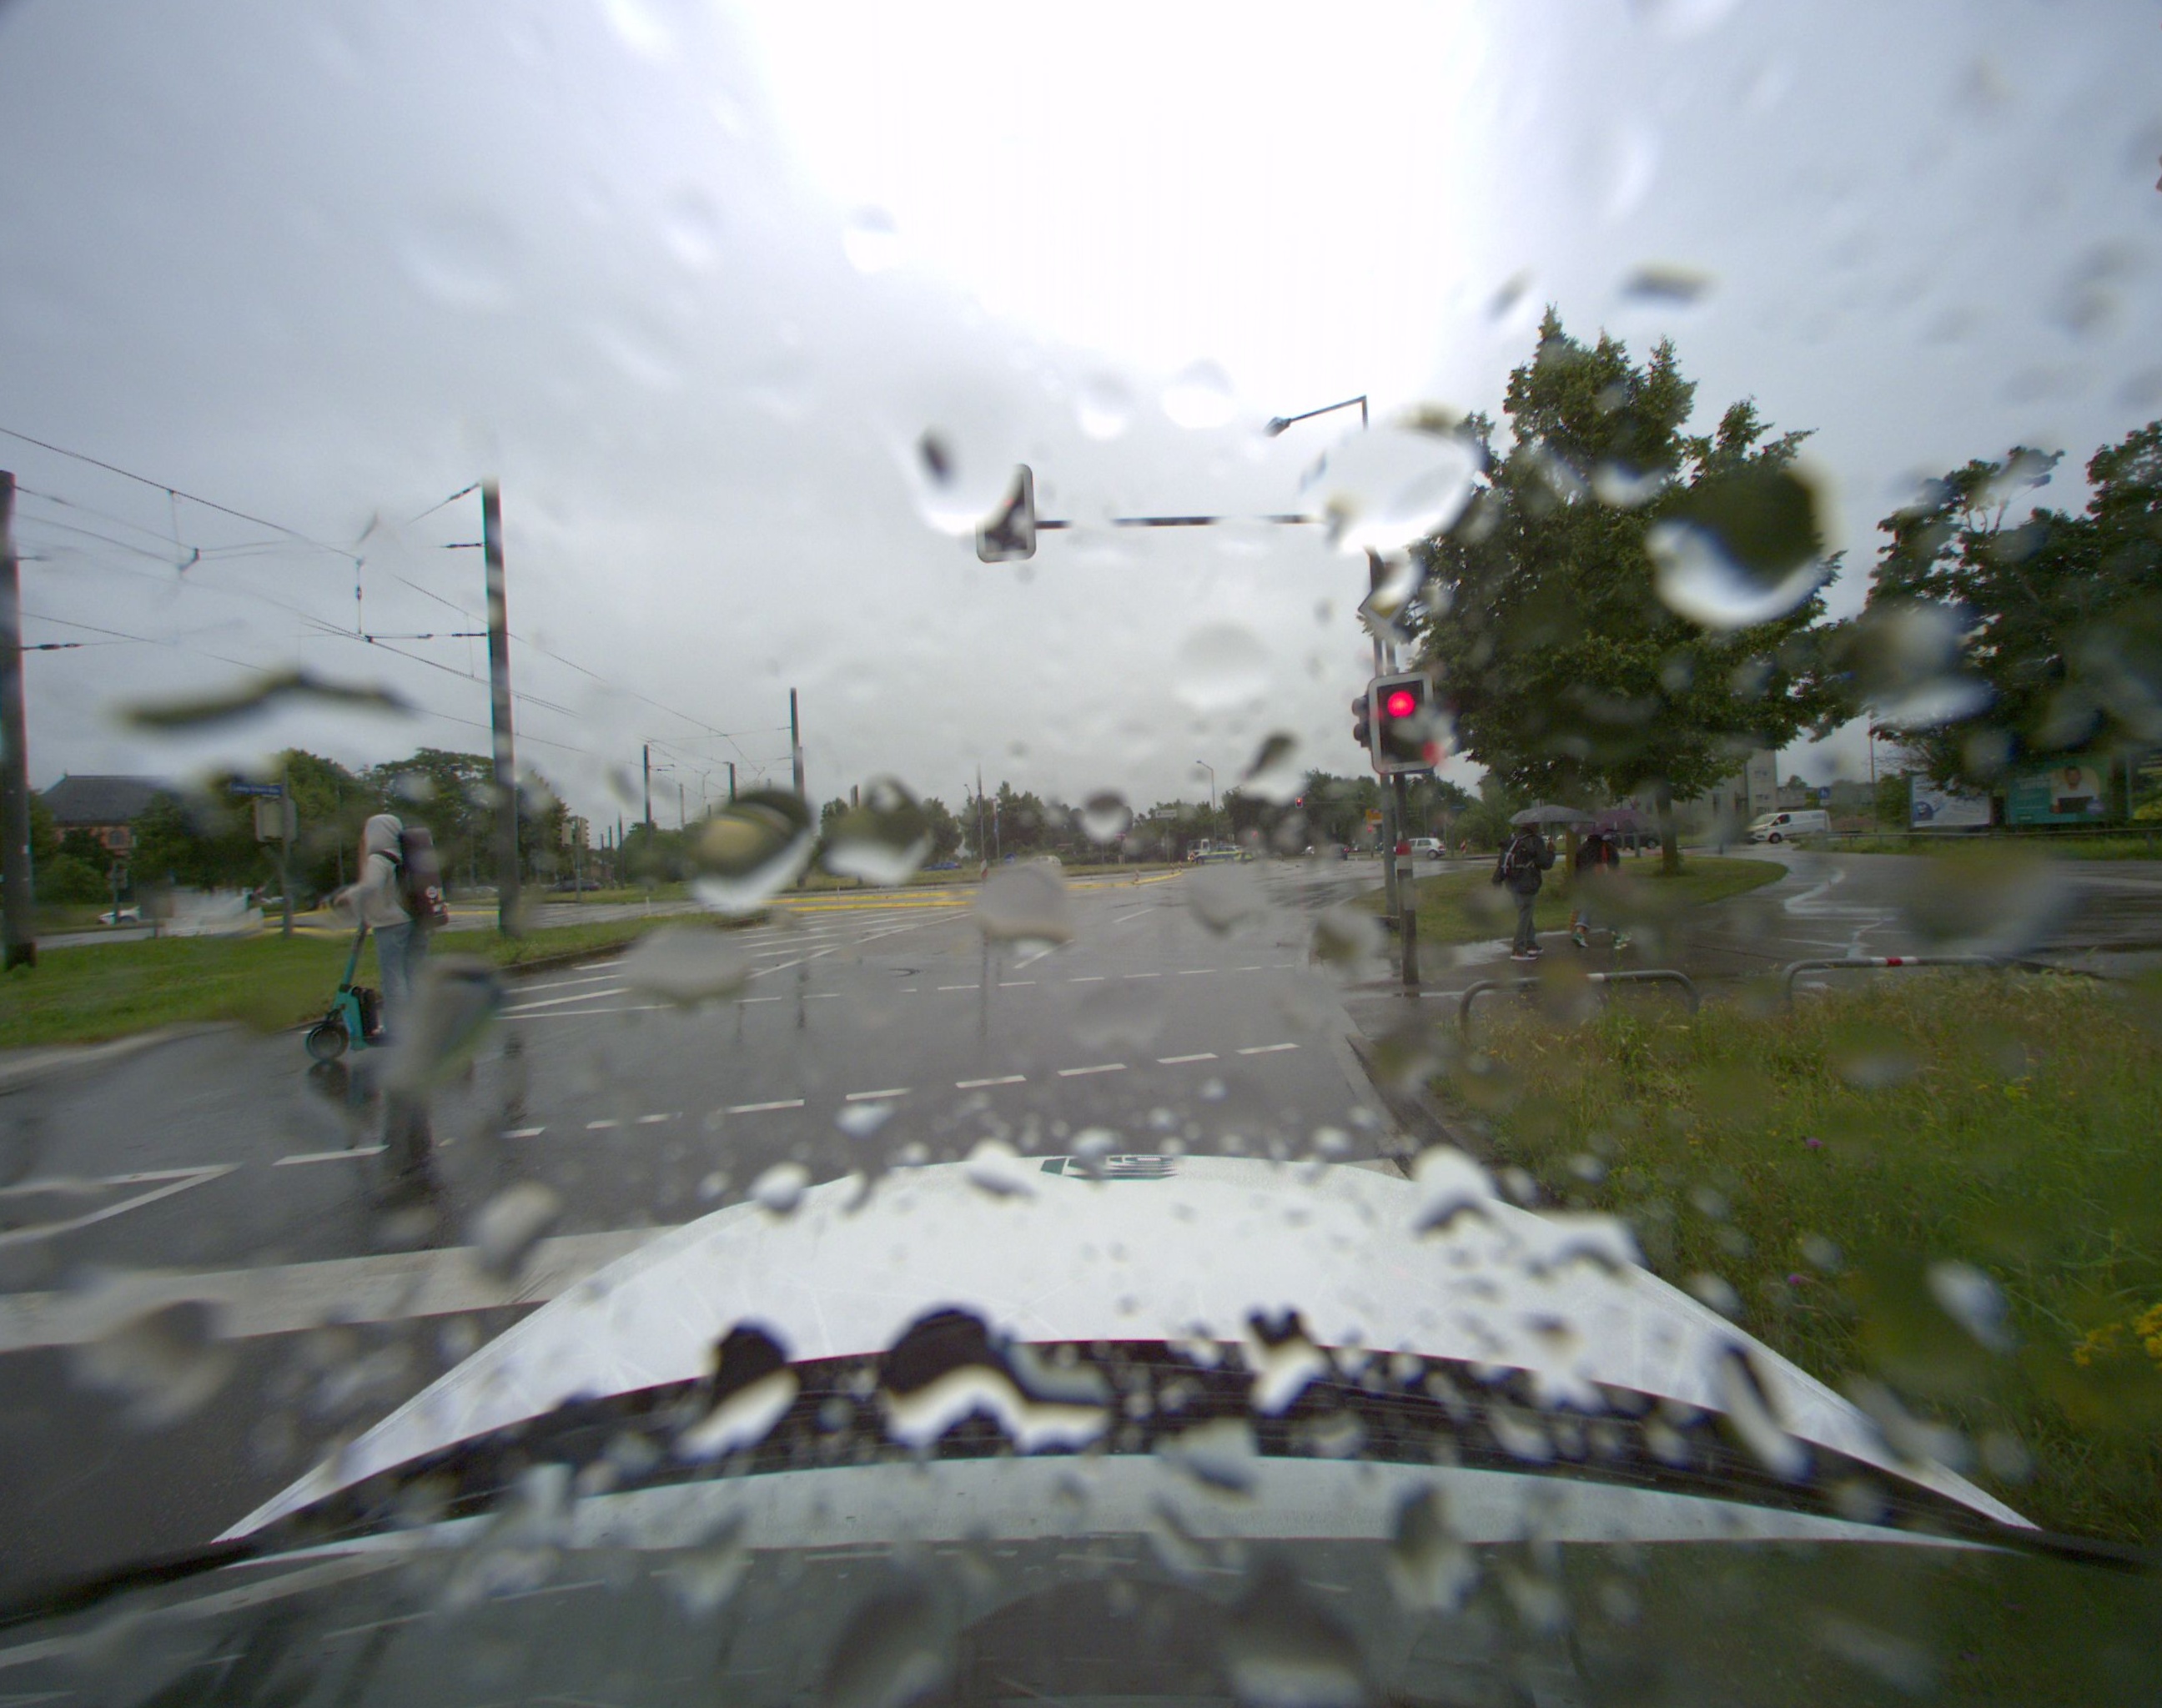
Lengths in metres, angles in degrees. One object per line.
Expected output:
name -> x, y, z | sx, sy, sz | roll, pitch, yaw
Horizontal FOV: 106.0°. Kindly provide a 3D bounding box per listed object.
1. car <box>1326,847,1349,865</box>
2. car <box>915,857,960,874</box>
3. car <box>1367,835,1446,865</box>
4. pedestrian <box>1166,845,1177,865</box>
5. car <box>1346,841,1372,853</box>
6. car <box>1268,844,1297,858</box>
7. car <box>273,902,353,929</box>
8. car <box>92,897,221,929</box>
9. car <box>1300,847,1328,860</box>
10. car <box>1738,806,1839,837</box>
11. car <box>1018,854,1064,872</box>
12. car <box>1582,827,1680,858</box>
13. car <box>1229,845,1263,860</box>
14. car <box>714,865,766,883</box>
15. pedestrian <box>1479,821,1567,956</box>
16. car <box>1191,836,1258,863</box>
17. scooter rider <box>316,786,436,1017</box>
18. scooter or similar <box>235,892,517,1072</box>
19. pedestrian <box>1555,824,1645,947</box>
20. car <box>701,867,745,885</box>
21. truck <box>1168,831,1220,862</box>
car -> 22.267, 0.140, 70.783 | 1.606, 1.454, 4.003 | -2, 0, 14
car -> -13.979, 1.105, 79.481 | 3.957, 1.454, 1.625 | -2, 0, 3
car -> 21.737, -0.235, 54.378 | 4.716, 1.851, 2.011 | -1, -1, 25
pedestrian -> 6.054, 0.082, 54.373 | 0.448, 1.304, 0.489 | -3, 0, 40
car -> 40.534, -1.060, 118.660 | 1.779, 1.662, 4.437 | -2, 0, 43
car -> 26.701, -0.420, 107.935 | 1.779, 1.662, 4.437 | -3, 0, 43
car -> -51.084, 4.049, 54.253 | 1.605, 1.543, 3.496 | -1, -1, 14
car -> -52.521, 3.313, 46.379 | 1.602, 1.454, 4.653 | -2, 0, 35
car -> 30.719, 0.013, 107.263 | 1.779, 1.662, 4.436 | -1, -1, 43
car -> 44.962, -2.066, 51.804 | 4.747, 1.851, 1.999 | 0, -1, -2
car -> -3.732, 0.862, 76.124 | 3.940, 1.454, 1.632 | -2, 0, 21
car -> 34.488, -0.691, 51.187 | 4.732, 1.851, 2.005 | 0, -1, 9
car -> 19.132, -0.122, 94.325 | 1.779, 1.662, 4.436 | -1, -1, 43
car -> -31.007, 1.832, 74.021 | 4.129, 1.454, 1.606 | -2, 0, -33
pedestrian -> 5.178, 0.389, 9.581 | 0.619, 1.522, 0.741 | -1, 0, 0
car -> 10.911, -0.314, 62.149 | 2.011, 1.851, 4.719 | -2, 0, -41
scooter rider -> -5.470, 0.350, 6.343 | 0.533, 1.709, 0.431 | -3, -1, -21
scooter or similar -> -5.418, 0.942, 6.363 | 1.591, 1.259, 0.444 | 0, -1, -22
pedestrian -> 6.535, 0.390, 10.280 | 0.678, 1.461, 0.573 | -3, -1, -3
car -> -37.696, 2.256, 85.735 | 1.660, 1.816, 4.025 | -1, -1, 31
truck -> 10.390, -0.602, 74.152 | 2.439, 2.686, 8.105 | -1, -1, 25
